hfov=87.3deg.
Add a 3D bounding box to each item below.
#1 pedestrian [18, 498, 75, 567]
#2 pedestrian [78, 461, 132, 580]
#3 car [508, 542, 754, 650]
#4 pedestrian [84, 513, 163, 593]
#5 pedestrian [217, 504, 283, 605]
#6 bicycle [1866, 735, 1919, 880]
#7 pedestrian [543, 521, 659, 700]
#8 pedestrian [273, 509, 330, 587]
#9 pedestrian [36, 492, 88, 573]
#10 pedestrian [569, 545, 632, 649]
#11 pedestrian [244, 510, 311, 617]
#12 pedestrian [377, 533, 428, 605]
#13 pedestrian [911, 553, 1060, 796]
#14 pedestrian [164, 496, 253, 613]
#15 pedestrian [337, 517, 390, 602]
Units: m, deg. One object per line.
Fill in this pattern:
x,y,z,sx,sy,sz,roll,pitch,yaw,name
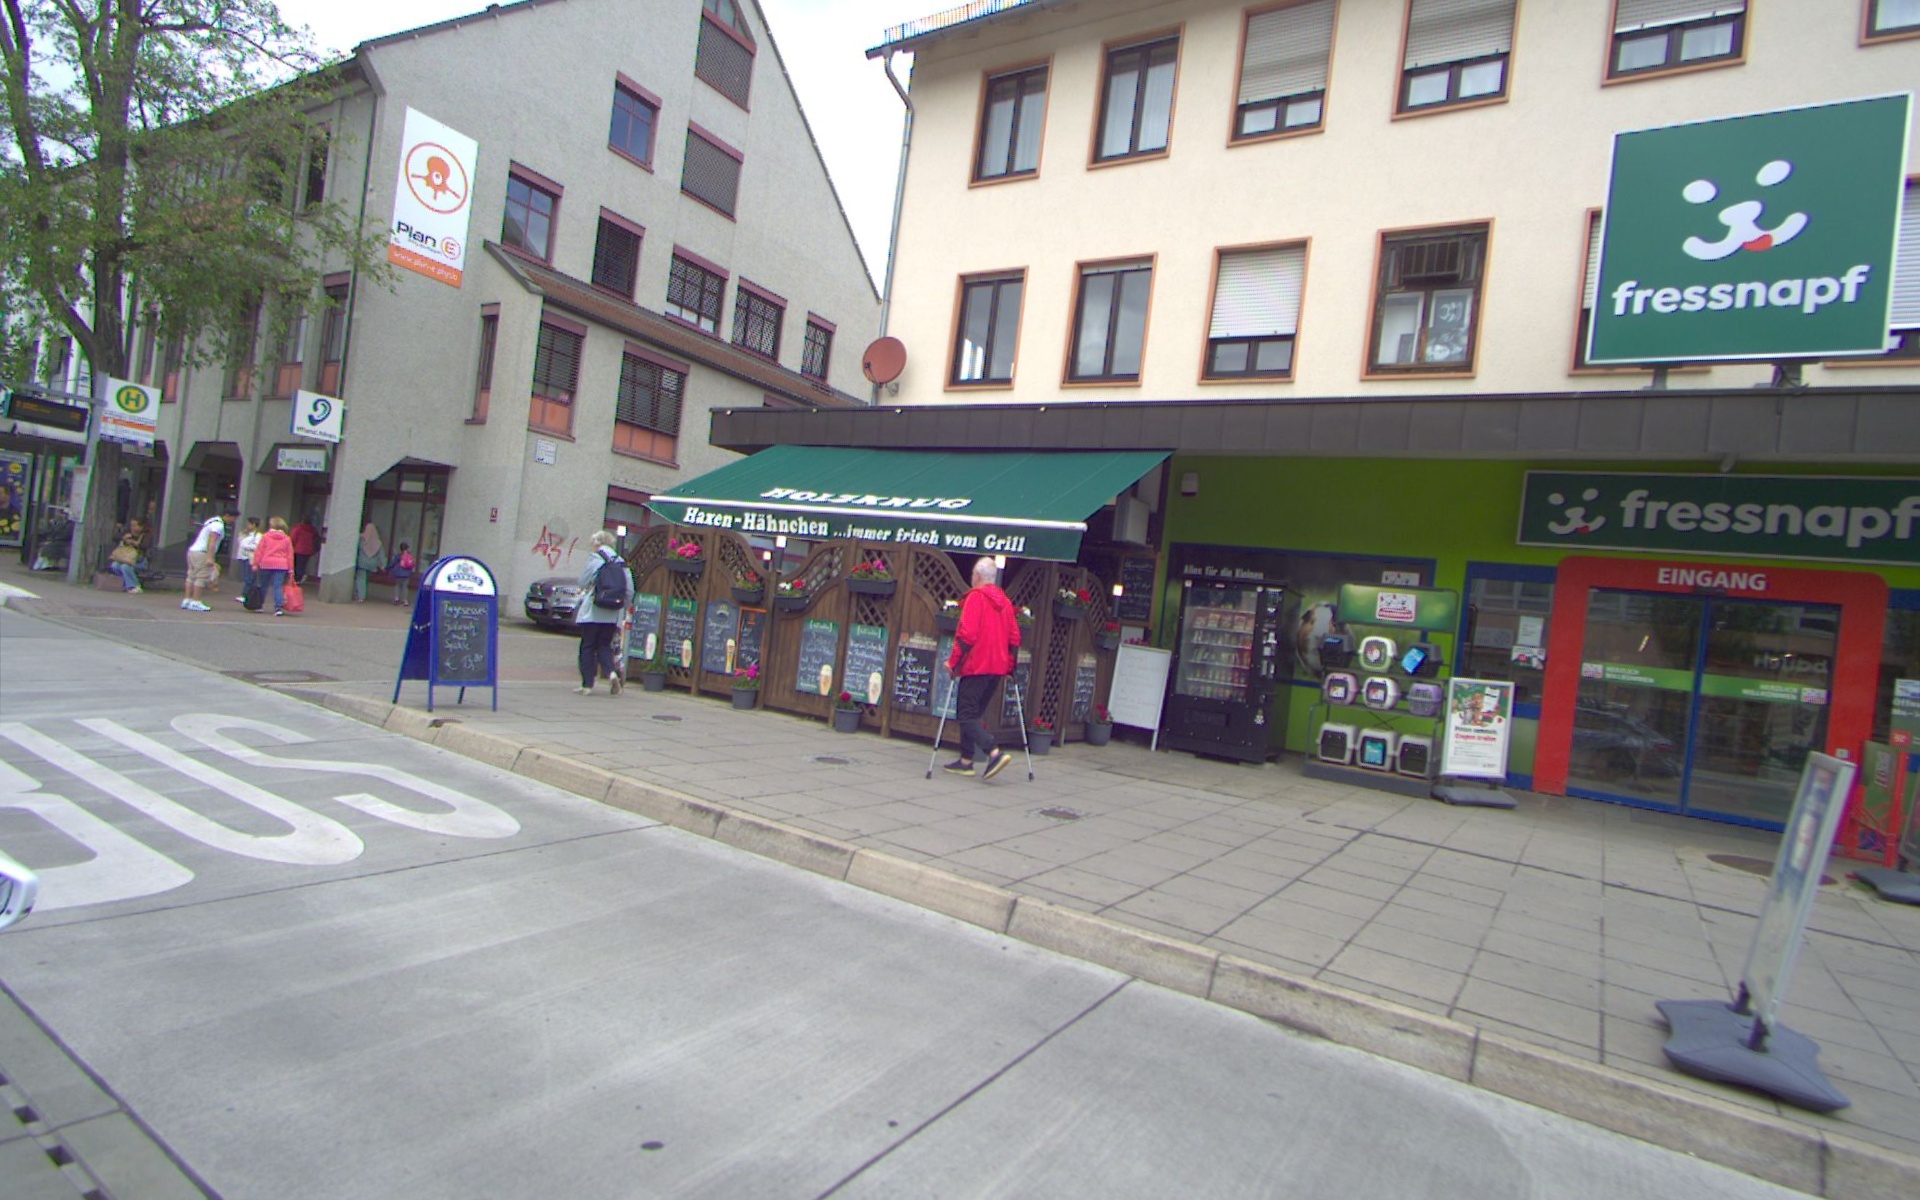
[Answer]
-17.604,-1.297,19.386,0.580,1.248,0.698,7,2,42,pedestrian
-15.546,-1.436,18.293,0.611,2.073,0.580,4,2,-44,pedestrian
-6.819,-0.024,21.317,1.851,1.638,4.607,7,-2,36,car
-13.767,-0.761,16.568,0.577,1.180,0.713,8,0,26,pedestrian
-12.334,-0.787,17.480,0.579,1.654,0.613,7,0,37,pedestrian
8.573,1.775,7.638,2.312,1.076,0.742,7,1,31,bicycle
-3.738,0.108,10.504,0.768,1.764,0.683,5,1,28,pedestrian
-15.247,-1.196,23.292,0.604,1.654,0.727,8,0,24,pedestrian
-16.591,-1.242,18.585,0.611,1.419,0.580,5,2,-44,pedestrian
-6.094,-0.044,17.065,0.605,1.654,0.586,7,0,33,pedestrian
-10.850,-0.575,15.988,0.669,1.586,0.486,9,0,-37,pedestrian
-11.710,-0.649,21.145,0.605,1.392,0.586,8,0,35,pedestrian
0.213,0.561,7.969,0.768,1.764,0.796,5,1,27,pedestrian
-11.488,-0.690,15.385,0.779,1.654,0.615,8,0,20,pedestrian
-12.351,-0.837,20.837,0.605,1.654,0.586,8,0,34,pedestrian
